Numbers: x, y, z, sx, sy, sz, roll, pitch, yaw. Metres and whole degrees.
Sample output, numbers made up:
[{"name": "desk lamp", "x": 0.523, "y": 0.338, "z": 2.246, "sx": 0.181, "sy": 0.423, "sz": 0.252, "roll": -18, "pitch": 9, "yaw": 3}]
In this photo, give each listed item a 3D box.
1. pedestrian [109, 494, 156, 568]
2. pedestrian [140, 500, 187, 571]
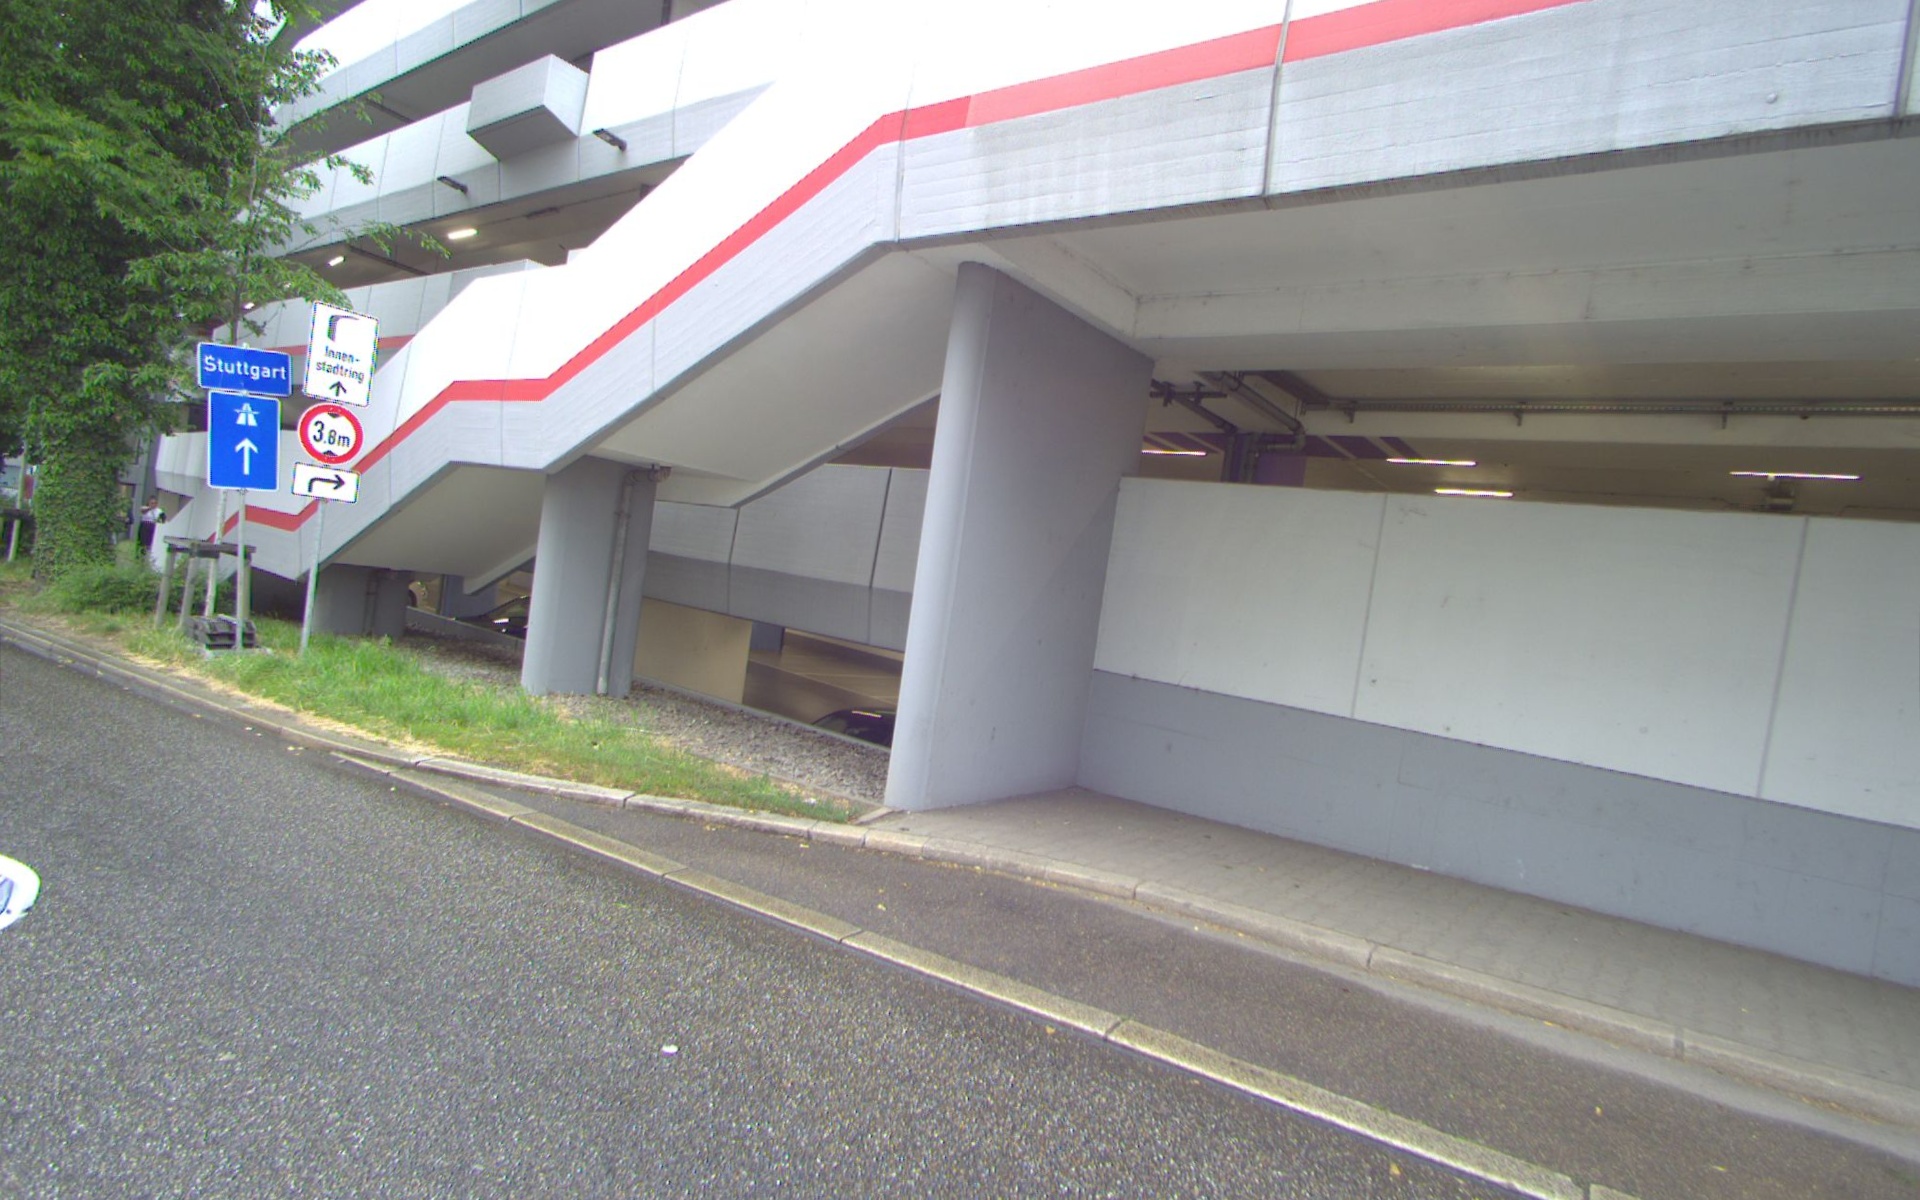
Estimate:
[{"name": "pedestrian", "x": -18.304, "y": -1.521, "z": 22.259, "sx": 0.481, "sy": 1.550, "sz": 0.551, "roll": 6, "pitch": -1, "yaw": 38}, {"name": "pedestrian", "x": -18.023, "y": -1.456, "z": 22.766, "sx": 0.496, "sy": 1.519, "sz": 0.582, "roll": 6, "pitch": -1, "yaw": 37}]
